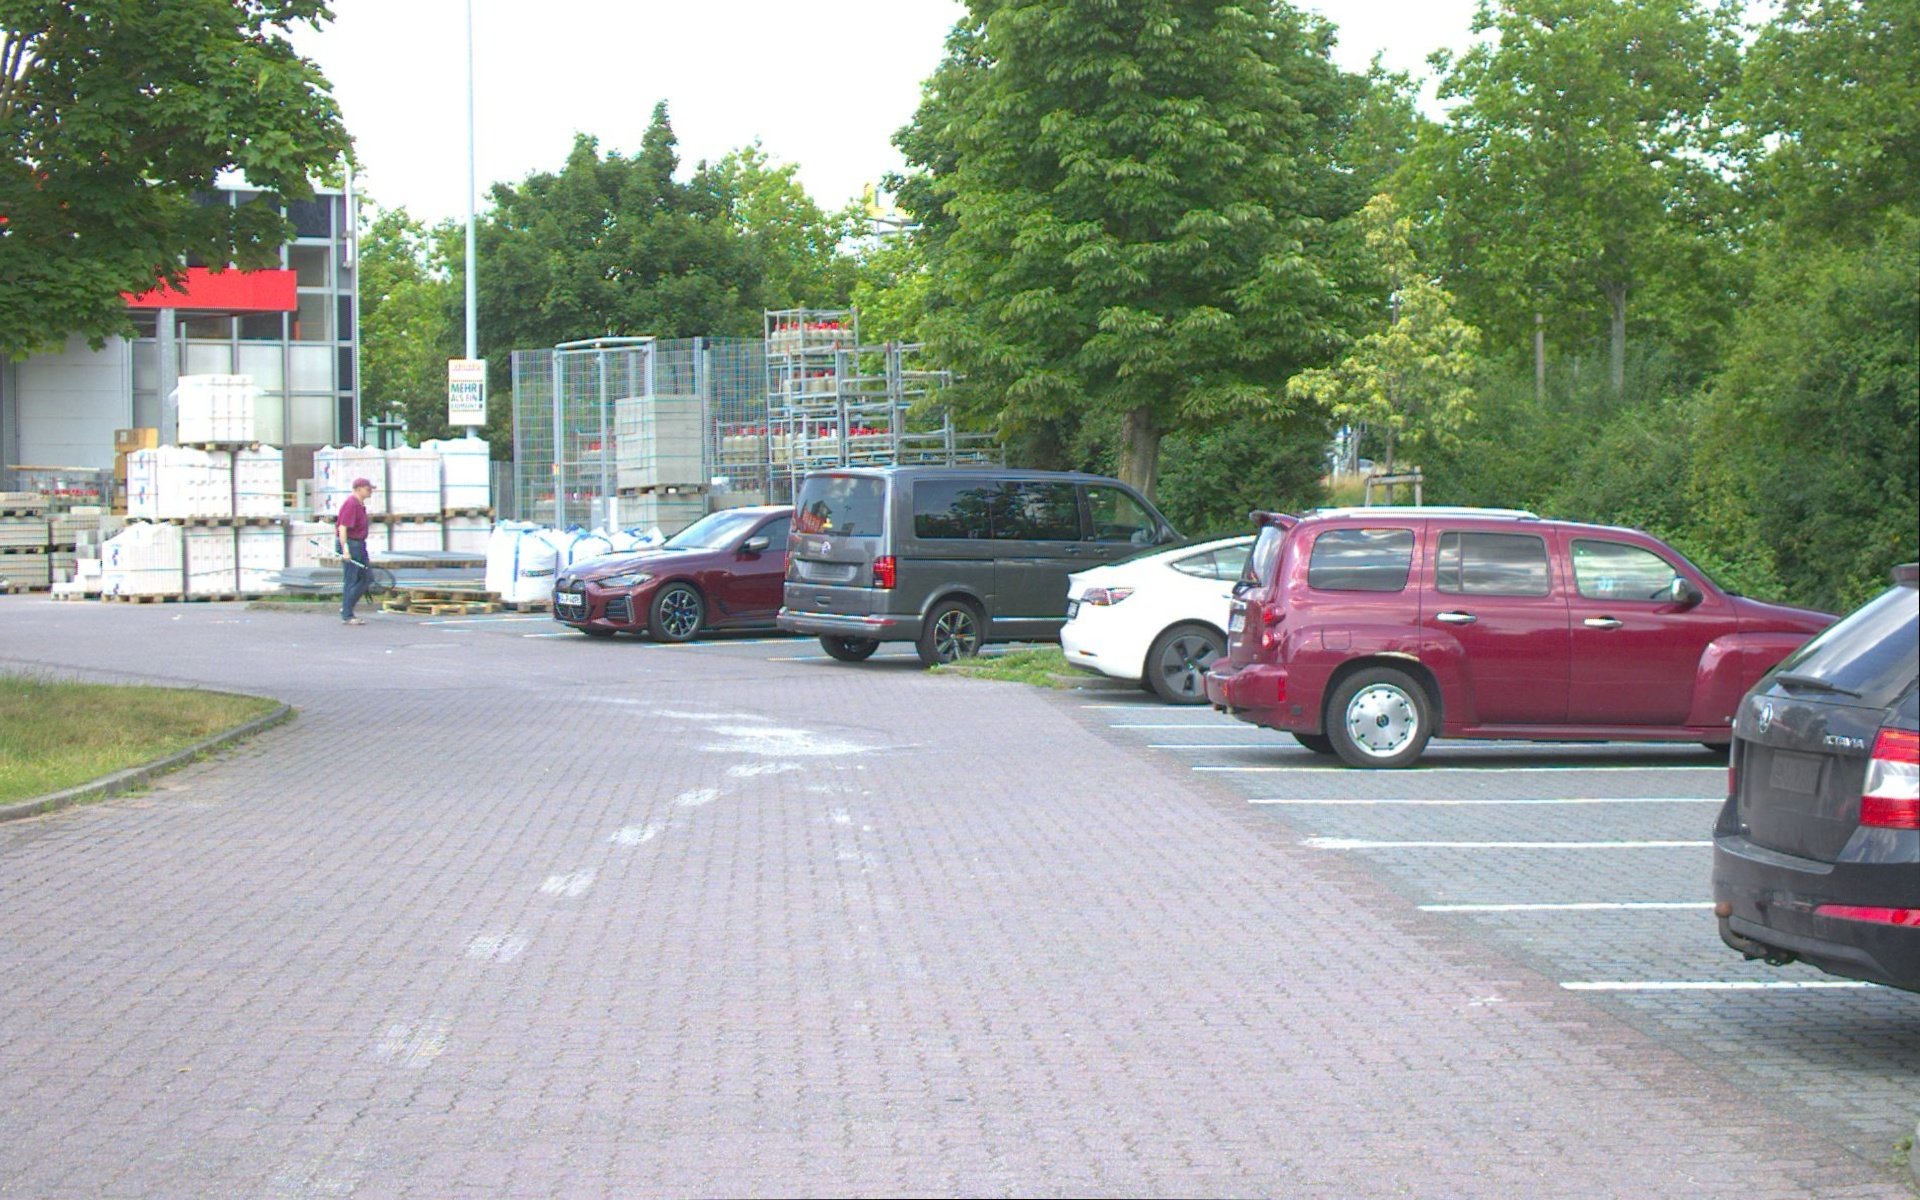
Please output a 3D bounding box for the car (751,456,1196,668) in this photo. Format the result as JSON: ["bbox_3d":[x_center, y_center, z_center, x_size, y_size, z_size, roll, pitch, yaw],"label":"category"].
[{"bbox_3d":[0.156,-0.352,34.415,4.044,2.012,1.947,0,0,-33],"label":"car"}]

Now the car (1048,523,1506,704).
[{"bbox_3d":[2.628,0.110,29.015,3.632,1.463,1.634,0,0,-3],"label":"car"}]

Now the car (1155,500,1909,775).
[{"bbox_3d":[3.501,0.192,21.589,4.305,1.590,2.000,-1,1,-4],"label":"car"}]

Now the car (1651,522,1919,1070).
[{"bbox_3d":[4.141,0.528,9.646,3.986,1.376,1.699,1,-1,-5],"label":"car"}]

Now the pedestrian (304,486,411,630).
[{"bbox_3d":[-6.990,-0.491,39.929,0.920,1.660,0.784,0,1,25],"label":"pedestrian"}]

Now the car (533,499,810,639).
[{"bbox_3d":[-3.177,-0.324,37.848,2.681,1.427,1.355,2,-1,-30],"label":"car"}]
